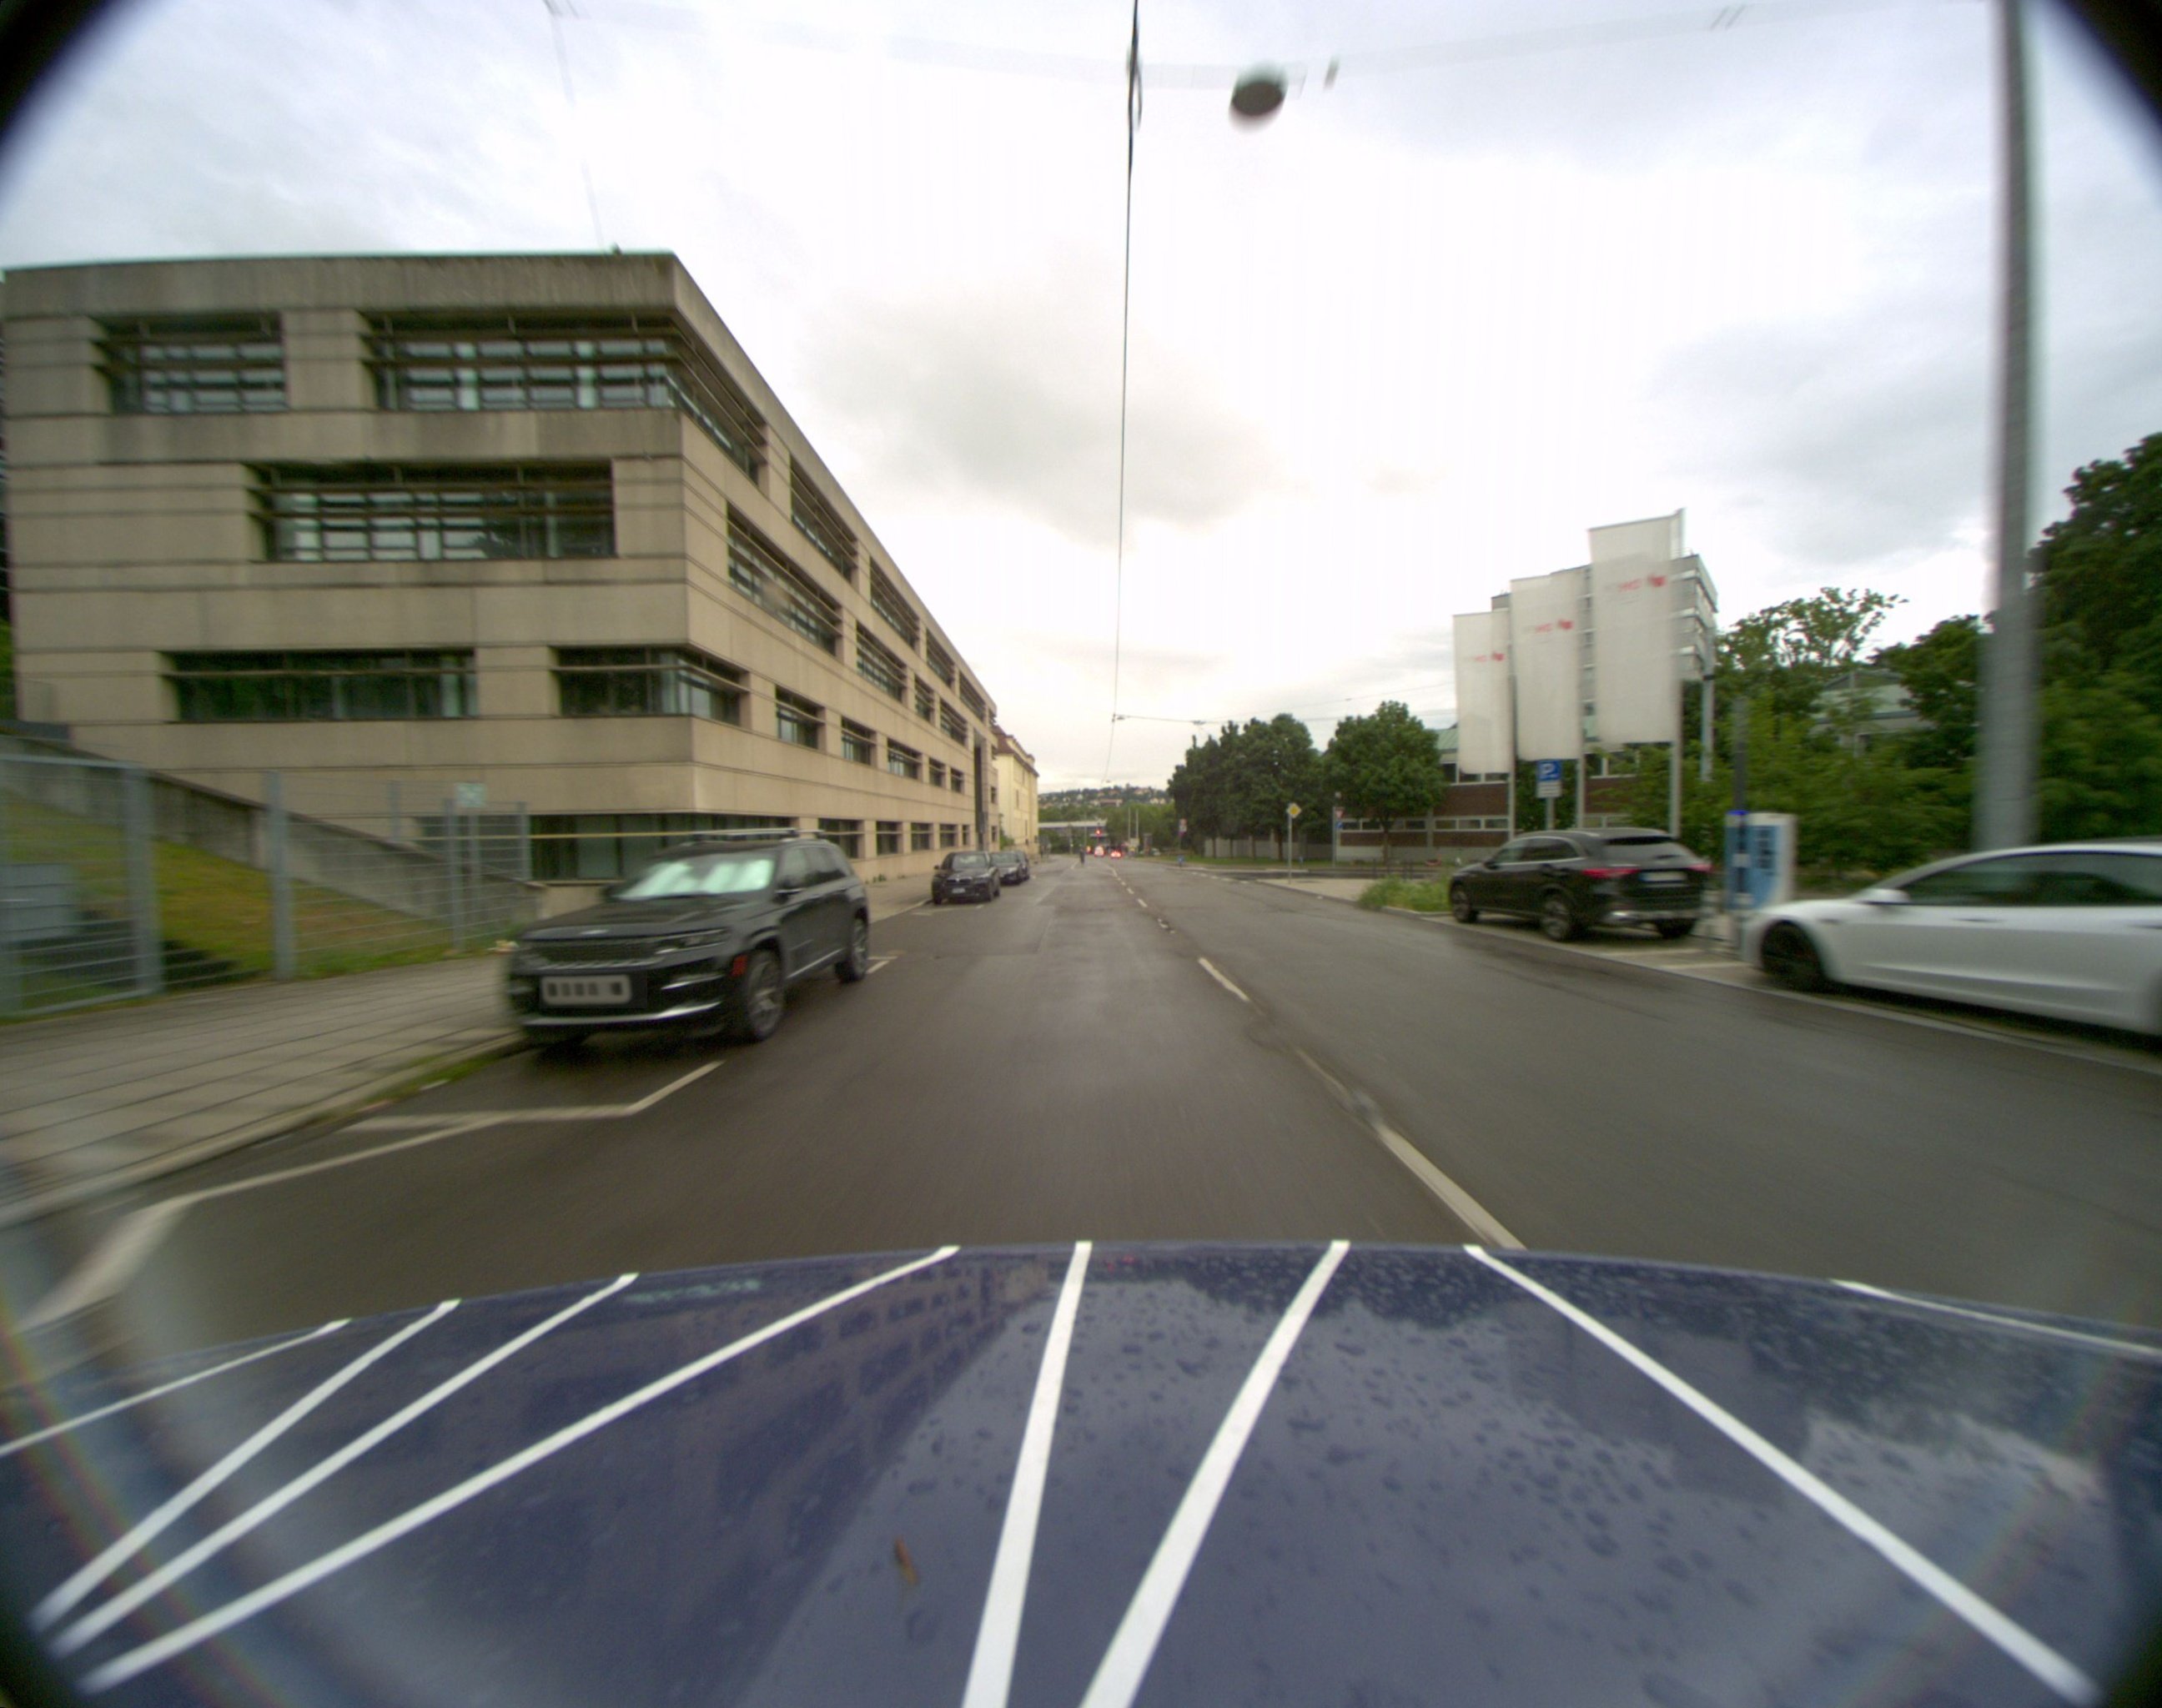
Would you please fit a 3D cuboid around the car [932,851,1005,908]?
[{"bbox_3d":[-3.594,0.751,24.923,1.748,1.525,4.317,-2,2,-1],"label":"car"}]

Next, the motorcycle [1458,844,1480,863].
[{"bbox_3d":[24.400,-0.035,47.780,1.166,1.119,0.414,1,4,38],"label":"motorcycle"}]

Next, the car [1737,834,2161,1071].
[{"bbox_3d":[7.694,0.598,5.670,1.825,1.411,4.401,-2,2,1],"label":"car"}]

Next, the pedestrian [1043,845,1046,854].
[{"bbox_3d":[-7.461,-1.002,154.805,0.671,1.788,0.851,0,2,2],"label":"pedestrian"}]

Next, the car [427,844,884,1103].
[{"bbox_3d":[-3.696,0.839,7.903,1.940,1.740,4.795,-2,2,0],"label":"car"}]

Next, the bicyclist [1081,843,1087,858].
[{"bbox_3d":[0.307,-0.312,72.019,0.485,1.425,0.930,-2,2,3],"label":"bicyclist"}]

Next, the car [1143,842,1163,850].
[{"bbox_3d":[15.625,-1.735,165.078,1.871,1.600,4.514,-4,2,-33],"label":"car"}]

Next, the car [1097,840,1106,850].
[{"bbox_3d":[5.347,-2.330,195.365,1.988,2.515,5.629,0,1,-2],"label":"car"}]

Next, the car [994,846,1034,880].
[{"bbox_3d":[-3.573,0.419,40.980,1.775,1.595,4.392,-2,2,-1],"label":"car"}]

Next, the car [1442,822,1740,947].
[{"bbox_3d":[7.866,0.345,12.361,1.854,1.608,4.489,-2,2,1],"label":"car"}]

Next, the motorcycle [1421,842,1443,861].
[{"bbox_3d":[22.758,-0.178,49.232,1.224,1.178,0.414,0,3,38],"label":"motorcycle"}]

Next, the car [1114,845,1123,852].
[{"bbox_3d":[8.320,-1.228,167.236,1.886,1.482,5.219,1,1,3],"label":"car"}]

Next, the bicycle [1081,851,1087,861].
[{"bbox_3d":[0.286,0.180,72.217,0.448,0.957,1.690,-2,1,3],"label":"bicycle"}]

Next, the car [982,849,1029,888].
[{"bbox_3d":[-3.470,0.622,35.767,1.730,1.504,4.056,-3,2,0],"label":"car"}]
